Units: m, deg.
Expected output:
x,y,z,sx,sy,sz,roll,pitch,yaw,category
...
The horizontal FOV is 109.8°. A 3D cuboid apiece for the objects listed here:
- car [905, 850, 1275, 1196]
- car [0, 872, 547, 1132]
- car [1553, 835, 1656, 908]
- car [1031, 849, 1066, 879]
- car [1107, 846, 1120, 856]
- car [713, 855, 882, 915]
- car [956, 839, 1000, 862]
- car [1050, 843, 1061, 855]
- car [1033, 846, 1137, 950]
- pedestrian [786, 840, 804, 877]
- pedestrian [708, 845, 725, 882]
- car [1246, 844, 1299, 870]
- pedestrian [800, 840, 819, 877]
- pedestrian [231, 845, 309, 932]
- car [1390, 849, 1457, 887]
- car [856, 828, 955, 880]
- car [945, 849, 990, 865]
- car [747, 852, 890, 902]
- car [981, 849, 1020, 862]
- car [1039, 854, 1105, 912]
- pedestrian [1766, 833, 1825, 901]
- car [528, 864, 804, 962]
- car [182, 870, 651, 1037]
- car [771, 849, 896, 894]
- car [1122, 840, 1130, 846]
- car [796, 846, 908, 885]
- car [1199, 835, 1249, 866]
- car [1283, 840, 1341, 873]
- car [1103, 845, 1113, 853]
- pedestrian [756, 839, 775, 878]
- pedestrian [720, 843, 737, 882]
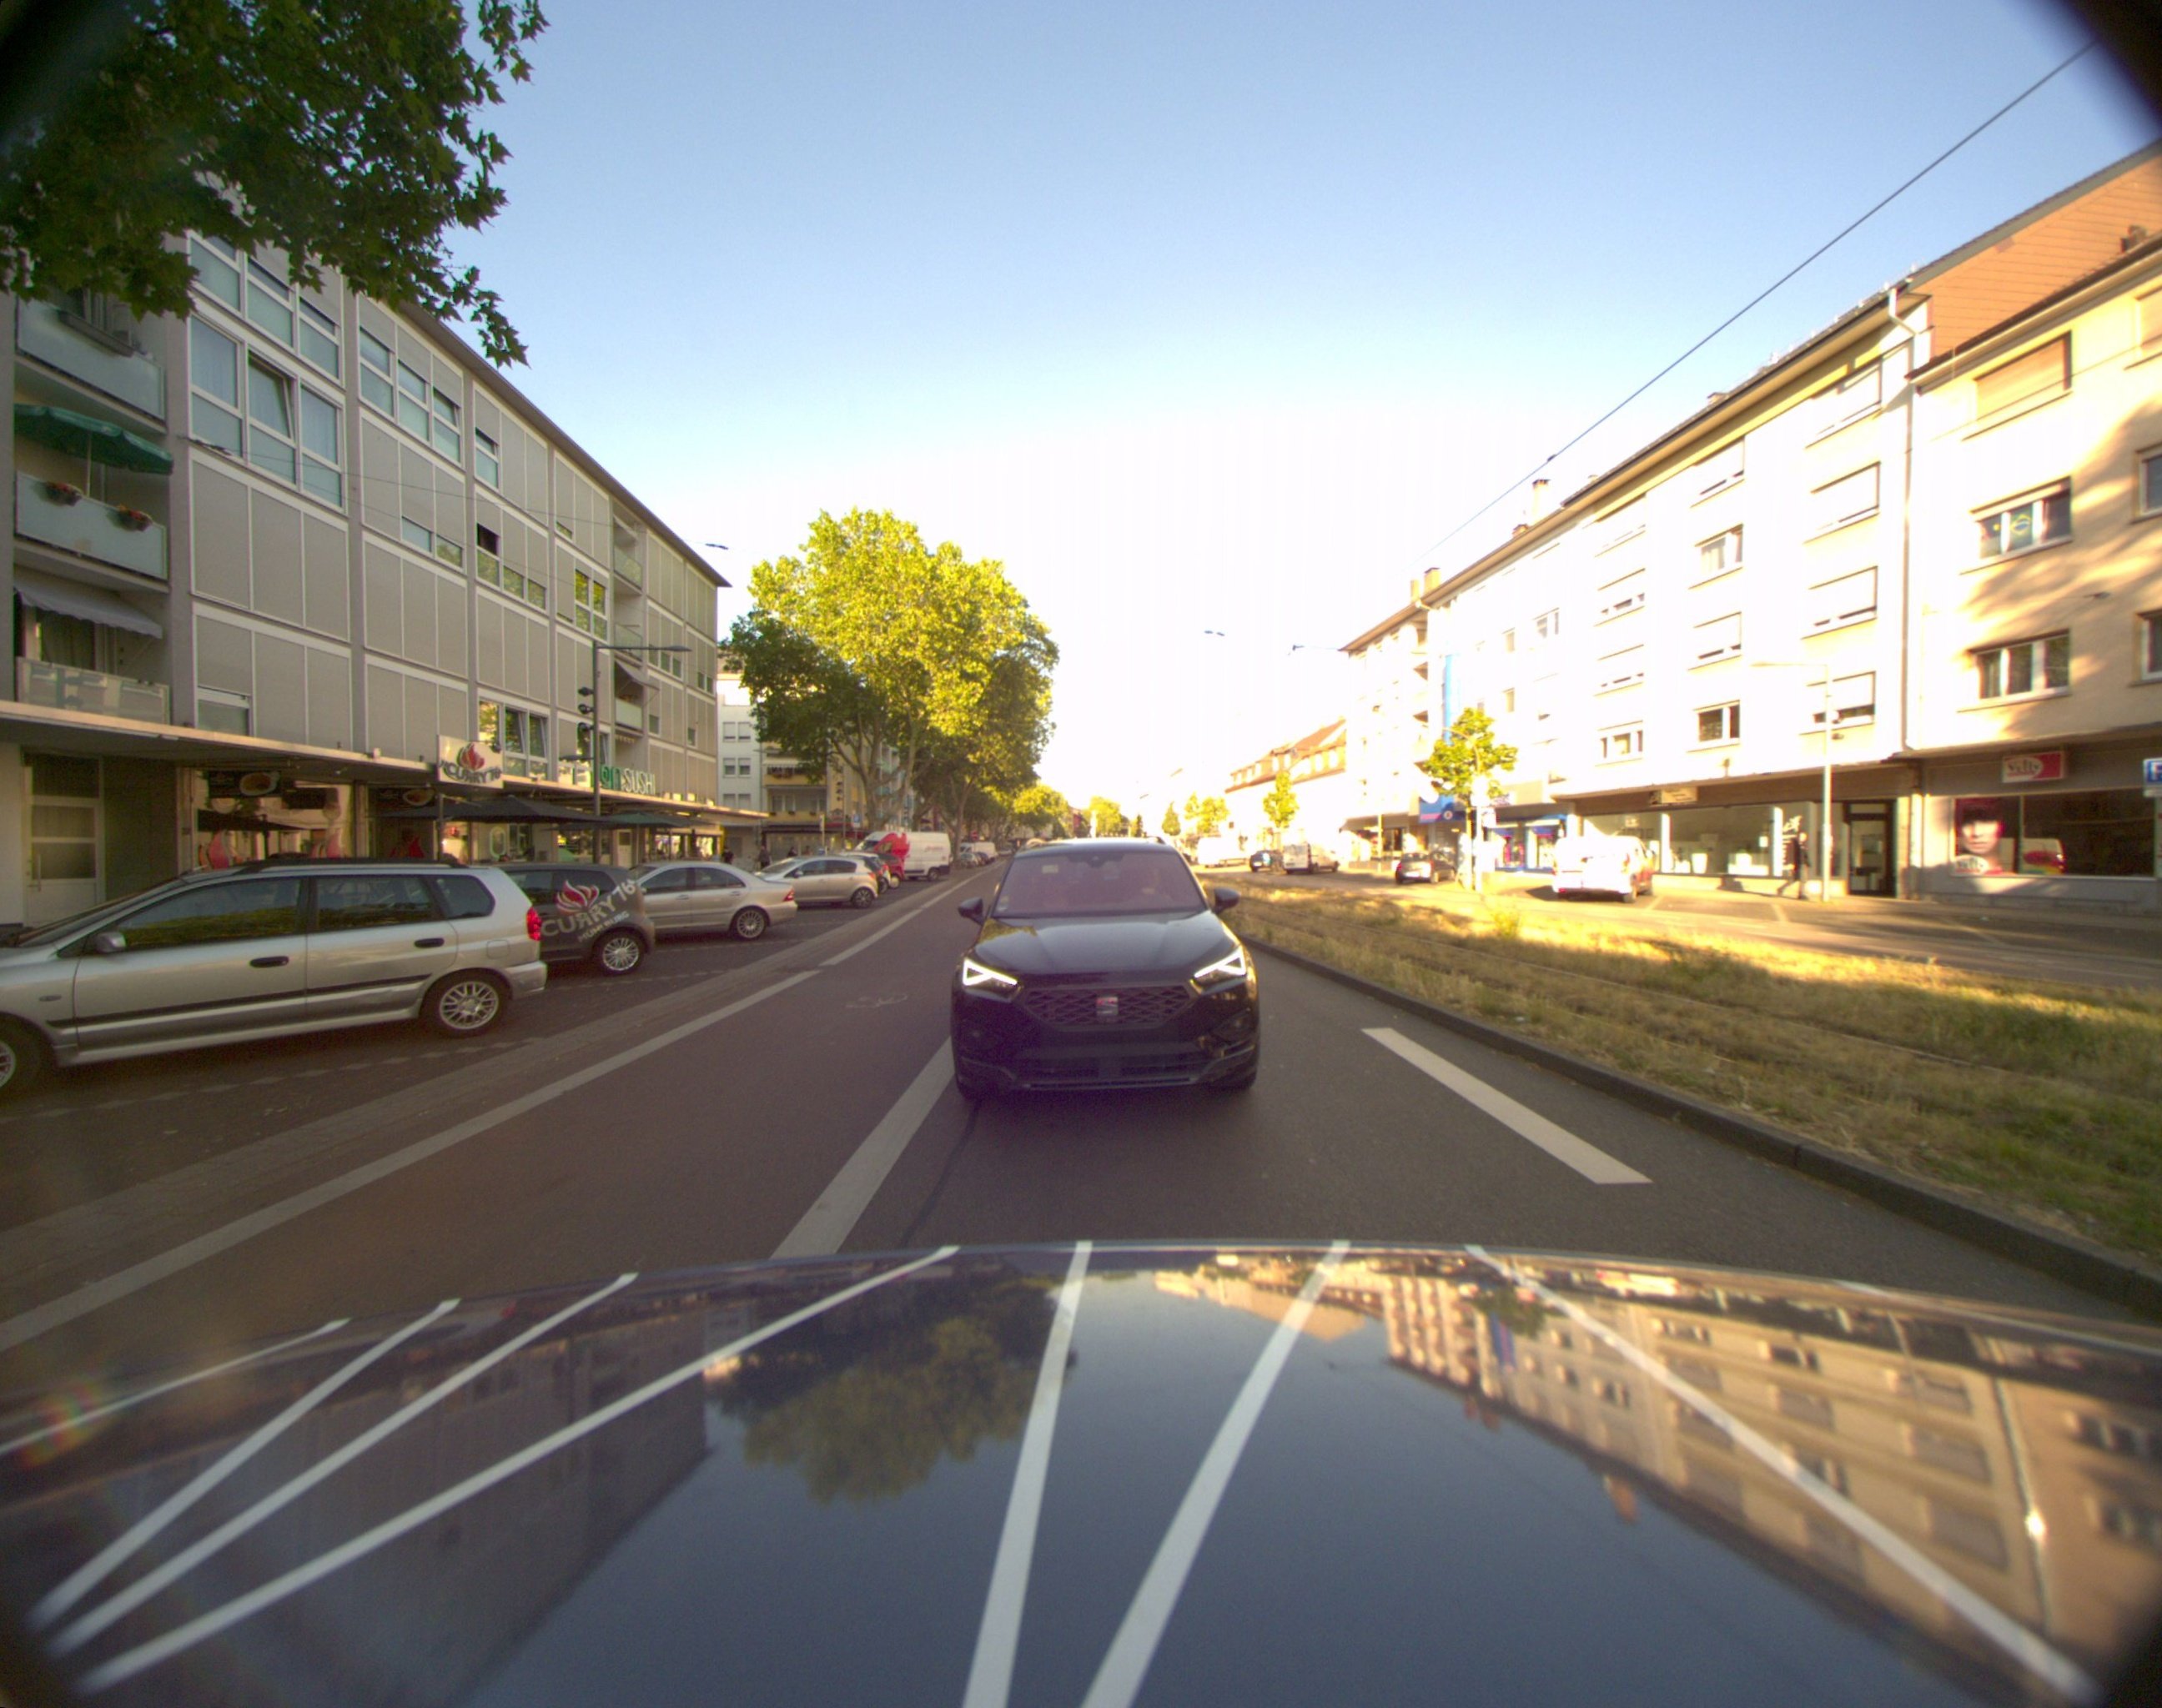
x,y,z,sx,sy,sz,roll,pitch,yaw,category
0.076,0.837,5.792,1.785,1.639,3.999,-2,1,1,car
-6.873,0.972,6.035,1.672,1.533,3.993,2,1,38,car
15.617,0.446,22.575,1.853,1.888,4.007,-1,2,44,car
-1.728,0.515,41.410,1.729,1.443,4.227,-2,1,-1,car
5.492,-0.500,129.889,1.846,1.571,4.449,0,1,-3,car
-7.556,0.787,20.514,3.950,1.420,1.555,1,1,-45,car
-11.490,-0.420,85.044,1.973,2.454,4.605,1,1,44,car
-7.107,-1.419,212.429,2.660,2.989,7.131,-2,1,-2,car
0.046,0.702,14.475,1.646,1.646,3.999,-2,1,-1,car
-15.604,0.247,41.418,0.748,1.964,0.575,0,1,-4,pedestrian
-16.385,0.419,34.135,0.537,1.630,0.478,0,1,-4,pedestrian
13.815,0.185,54.683,3.922,1.704,1.853,-2,1,-45,car
-14.781,0.251,41.385,0.748,2.002,0.764,0,1,-4,pedestrian
-15.091,0.626,14.156,0.583,1.573,0.771,0,1,2,pedestrian
15.370,0.583,33.975,1.731,1.489,4.008,-1,1,40,car
-8.684,0.012,37.910,4.606,2.479,1.672,0,0,-44,car
-10.892,0.275,72.972,1.778,1.396,3.943,1,1,44,car
-8.299,0.722,24.119,3.949,1.420,1.672,1,1,-34,car
-8.662,0.162,82.208,1.778,1.326,3.943,1,1,44,car
-0.266,0.791,22.748,1.729,1.467,3.999,-2,1,-1,car
19.506,0.348,20.752,0.757,1.817,0.917,-1,1,1,pedestrian
-7.137,0.909,13.371,1.592,1.393,3.950,2,1,41,car
-7.585,0.960,9.034,1.672,1.420,3.950,2,1,38,car
-8.853,0.636,27.286,3.948,1.421,1.672,2,2,-32,car
14.511,-3.621,244.880,2.497,1.871,5.275,0,1,5,car
-9.156,0.477,30.467,3.948,1.421,1.672,1,2,-32,car
12.987,-0.369,68.598,1.922,2.599,6.601,-1,1,34,car
14.558,0.105,47.823,1.853,1.927,4.513,-1,1,40,car
6.090,-1.050,172.430,1.999,1.783,3.998,0,1,-4,car
-16.198,0.233,39.000,0.748,2.002,0.559,0,1,-4,pedestrian
-15.838,0.383,34.181,0.545,1.710,0.457,0,1,-4,pedestrian
